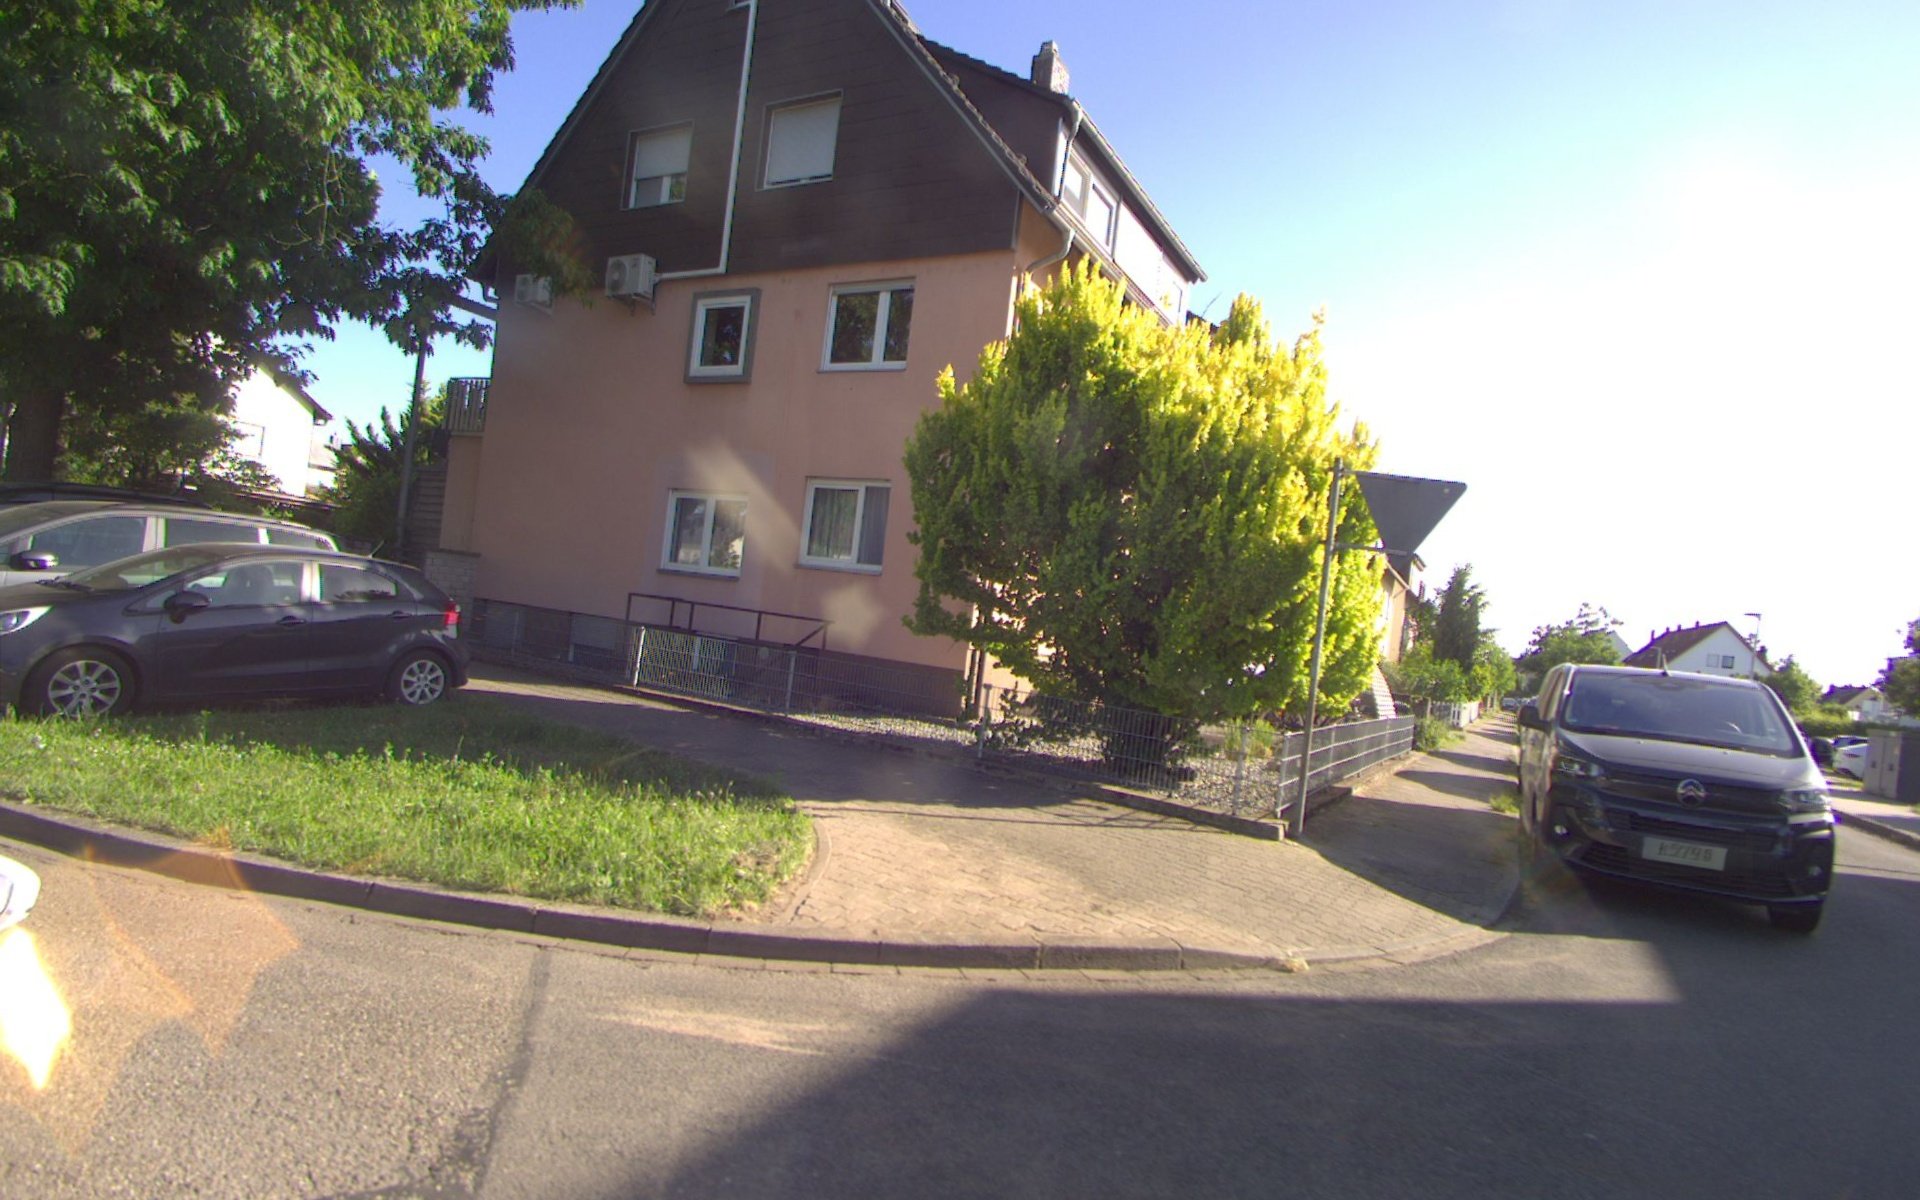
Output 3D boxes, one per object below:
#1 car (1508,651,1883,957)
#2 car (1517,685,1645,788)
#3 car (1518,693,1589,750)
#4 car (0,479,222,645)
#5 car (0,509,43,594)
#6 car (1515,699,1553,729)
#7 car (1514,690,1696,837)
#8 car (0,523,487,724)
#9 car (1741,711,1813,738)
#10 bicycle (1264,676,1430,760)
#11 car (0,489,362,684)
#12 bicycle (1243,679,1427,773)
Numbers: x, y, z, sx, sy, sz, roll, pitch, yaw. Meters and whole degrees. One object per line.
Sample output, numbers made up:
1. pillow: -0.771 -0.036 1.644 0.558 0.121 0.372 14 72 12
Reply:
1. car: 6.364 1.556 9.409 1.880 1.837 5.206 5 -1 27
2. car: 12.384 2.659 20.255 1.880 1.622 3.555 6 -1 30
3. car: 20.725 4.189 35.249 1.880 1.622 3.721 6 -1 30
4. car: -11.353 -0.488 11.549 1.758 1.804 4.218 5 -1 28
5. car: -18.513 -1.033 16.690 1.808 1.463 4.507 5 -1 31
6. car: 36.076 7.138 63.279 1.880 1.622 3.721 6 -2 30
7. car: 9.356 2.271 14.852 1.880 1.622 3.555 6 -1 30
8. car: -6.480 0.196 8.775 1.655 1.378 3.949 5 0 30
9. car: 58.349 8.859 71.902 3.665 1.369 1.909 6 -1 32
10. bicycle: 6.607 1.988 17.267 2.503 1.044 0.648 6 0 31
11. car: -8.764 -0.143 9.954 1.847 1.700 4.510 6 0 28
12. bicycle: 5.756 1.909 15.551 2.503 1.044 0.648 6 0 31
